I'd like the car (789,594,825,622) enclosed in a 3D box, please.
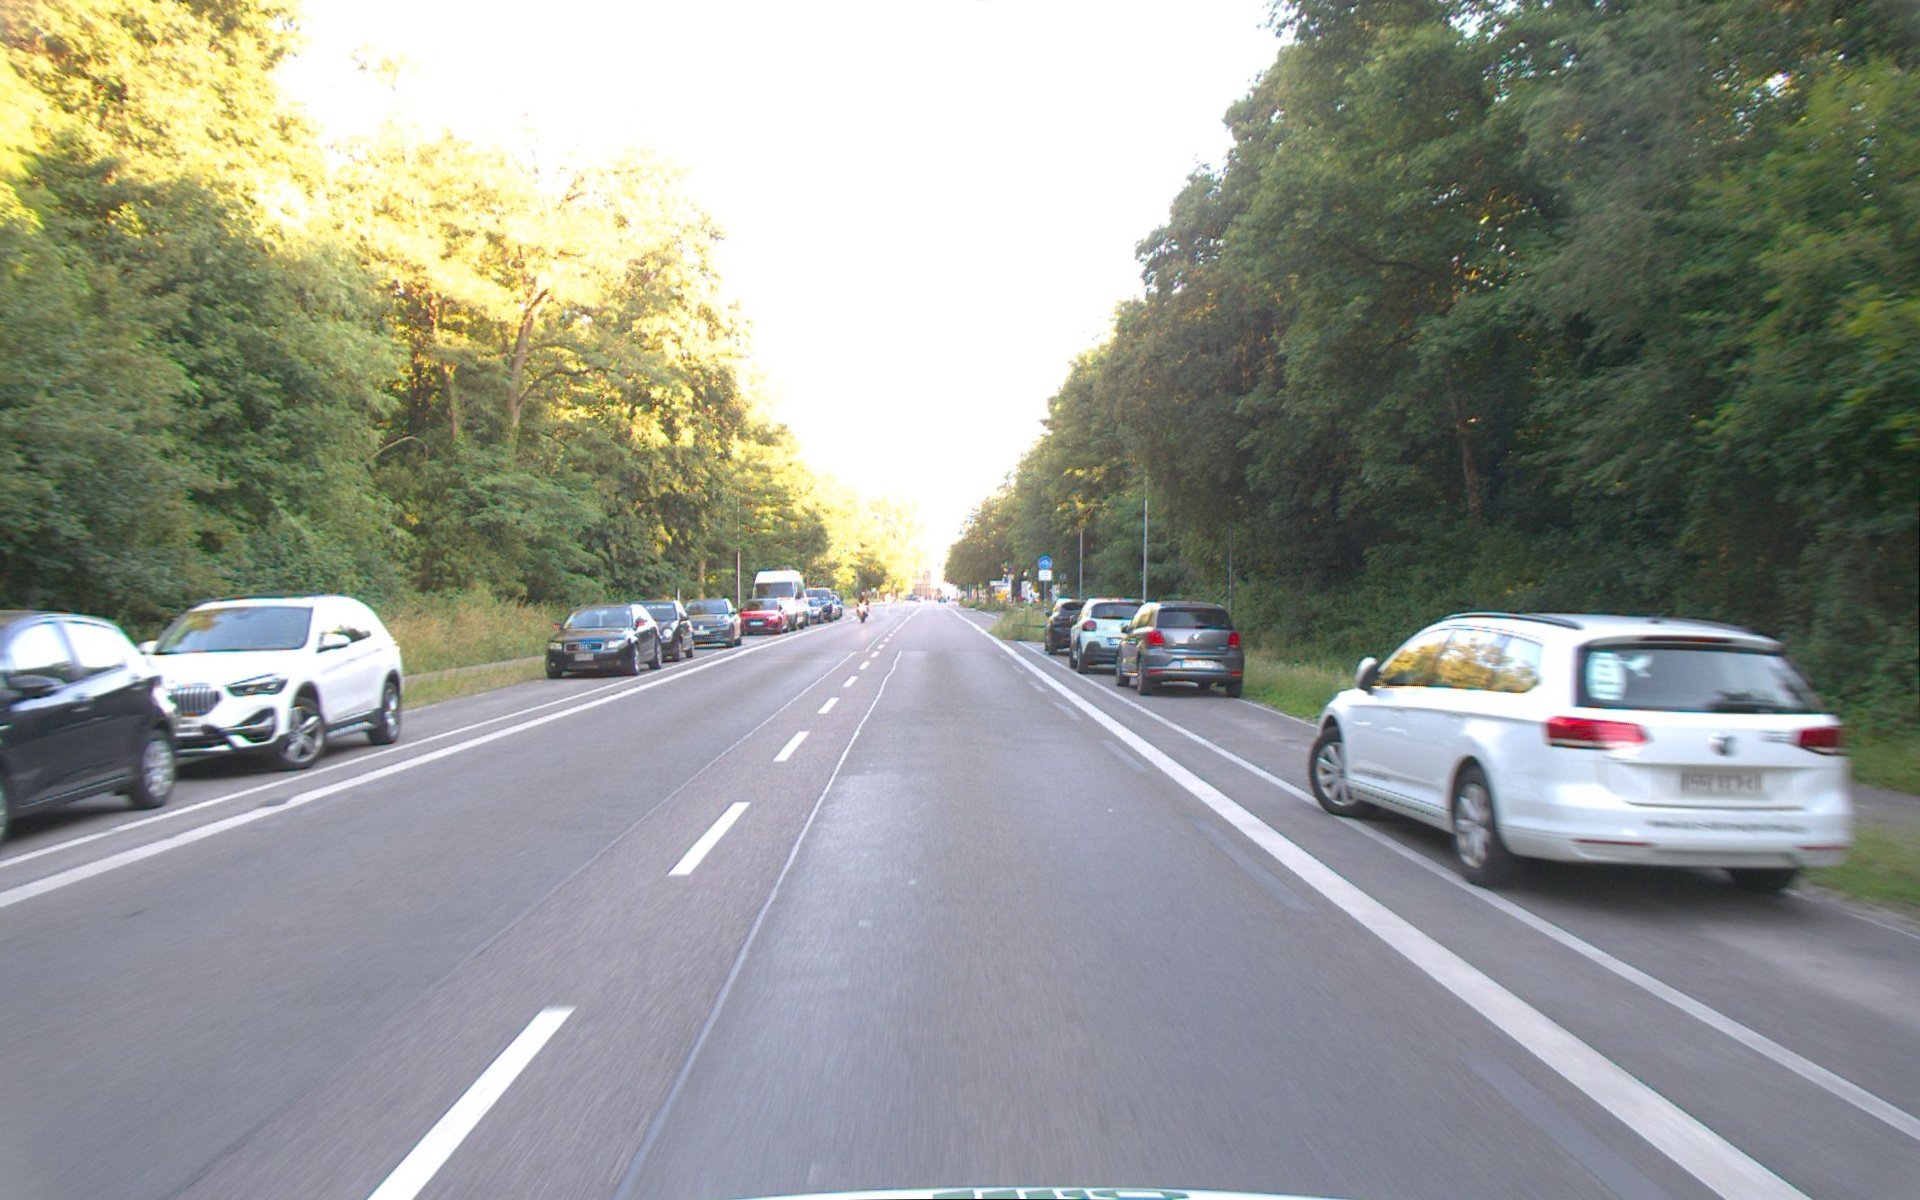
[{"bbox_3d":[-8.450,0.433,91.515,1.636,1.458,4.446,-2,0,-1],"label":"car"}]

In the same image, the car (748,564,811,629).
[{"bbox_3d":[-8.006,-0.129,73.786,2.037,2.652,7.087,-3,0,-1],"label":"car"}]

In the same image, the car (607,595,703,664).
[{"bbox_3d":[-7.331,0.677,40.050,1.677,1.535,3.656,-2,0,-2],"label":"car"}]

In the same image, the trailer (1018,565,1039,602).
[{"bbox_3d":[10.416,-2.486,251.666,2.958,5.558,7.934,0,0,0],"label":"trailer"}]

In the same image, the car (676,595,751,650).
[{"bbox_3d":[-7.381,0.644,49.891,1.809,1.488,4.227,-2,0,-3],"label":"car"}]

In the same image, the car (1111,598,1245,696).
[{"bbox_3d":[3.508,0.711,27.253,1.547,1.471,3.959,0,0,-2],"label":"car"}]

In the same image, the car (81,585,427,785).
[{"bbox_3d":[-6.867,0.726,16.659,1.661,1.675,4.570,-2,0,-3],"label":"car"}]

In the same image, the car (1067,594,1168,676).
[{"bbox_3d":[3.196,0.673,34.194,1.654,1.573,4.111,0,0,-1],"label":"car"}]

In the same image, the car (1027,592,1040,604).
[{"bbox_3d":[10.599,-0.322,237.851,1.733,1.611,4.820,1,-1,3],"label":"car"}]

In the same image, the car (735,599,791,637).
[{"bbox_3d":[-7.904,0.711,66.531,1.681,1.455,4.387,-1,0,0],"label":"car"}]

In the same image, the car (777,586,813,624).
[{"bbox_3d":[-8.595,0.242,86.394,1.654,1.890,4.384,0,1,-3],"label":"car"}]

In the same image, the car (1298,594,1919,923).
[{"bbox_3d":[3.617,0.757,10.302,1.807,1.519,4.756,1,1,-3],"label":"car"}]

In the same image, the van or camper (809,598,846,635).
[{"bbox_3d":[-7.832,0.971,98.015,1.962,2.053,5.458,-3,0,-3],"label":"van or camper"}]

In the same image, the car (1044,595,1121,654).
[{"bbox_3d":[3.218,0.607,44.027,1.676,1.470,4.121,1,0,-1],"label":"car"}]

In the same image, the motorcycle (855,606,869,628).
[{"bbox_3d":[-5.362,0.933,90.483,0.598,1.146,1.962,0,0,2],"label":"motorcycle"}]

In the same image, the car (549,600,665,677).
[{"bbox_3d":[-7.098,0.734,33.578,1.565,1.419,4.050,-1,0,-2],"label":"car"}]

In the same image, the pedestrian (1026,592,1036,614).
[{"bbox_3d":[5.761,0.270,134.544,0.821,1.782,0.726,0,-1,0],"label":"pedestrian"}]

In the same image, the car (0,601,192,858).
[{"bbox_3d":[-6.715,0.816,10.934,1.638,1.546,3.734,-2,0,-3],"label":"car"}]

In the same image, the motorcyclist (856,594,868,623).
[{"bbox_3d":[-5.375,0.452,90.518,0.591,1.556,0.995,0,0,1],"label":"motorcyclist"}]
